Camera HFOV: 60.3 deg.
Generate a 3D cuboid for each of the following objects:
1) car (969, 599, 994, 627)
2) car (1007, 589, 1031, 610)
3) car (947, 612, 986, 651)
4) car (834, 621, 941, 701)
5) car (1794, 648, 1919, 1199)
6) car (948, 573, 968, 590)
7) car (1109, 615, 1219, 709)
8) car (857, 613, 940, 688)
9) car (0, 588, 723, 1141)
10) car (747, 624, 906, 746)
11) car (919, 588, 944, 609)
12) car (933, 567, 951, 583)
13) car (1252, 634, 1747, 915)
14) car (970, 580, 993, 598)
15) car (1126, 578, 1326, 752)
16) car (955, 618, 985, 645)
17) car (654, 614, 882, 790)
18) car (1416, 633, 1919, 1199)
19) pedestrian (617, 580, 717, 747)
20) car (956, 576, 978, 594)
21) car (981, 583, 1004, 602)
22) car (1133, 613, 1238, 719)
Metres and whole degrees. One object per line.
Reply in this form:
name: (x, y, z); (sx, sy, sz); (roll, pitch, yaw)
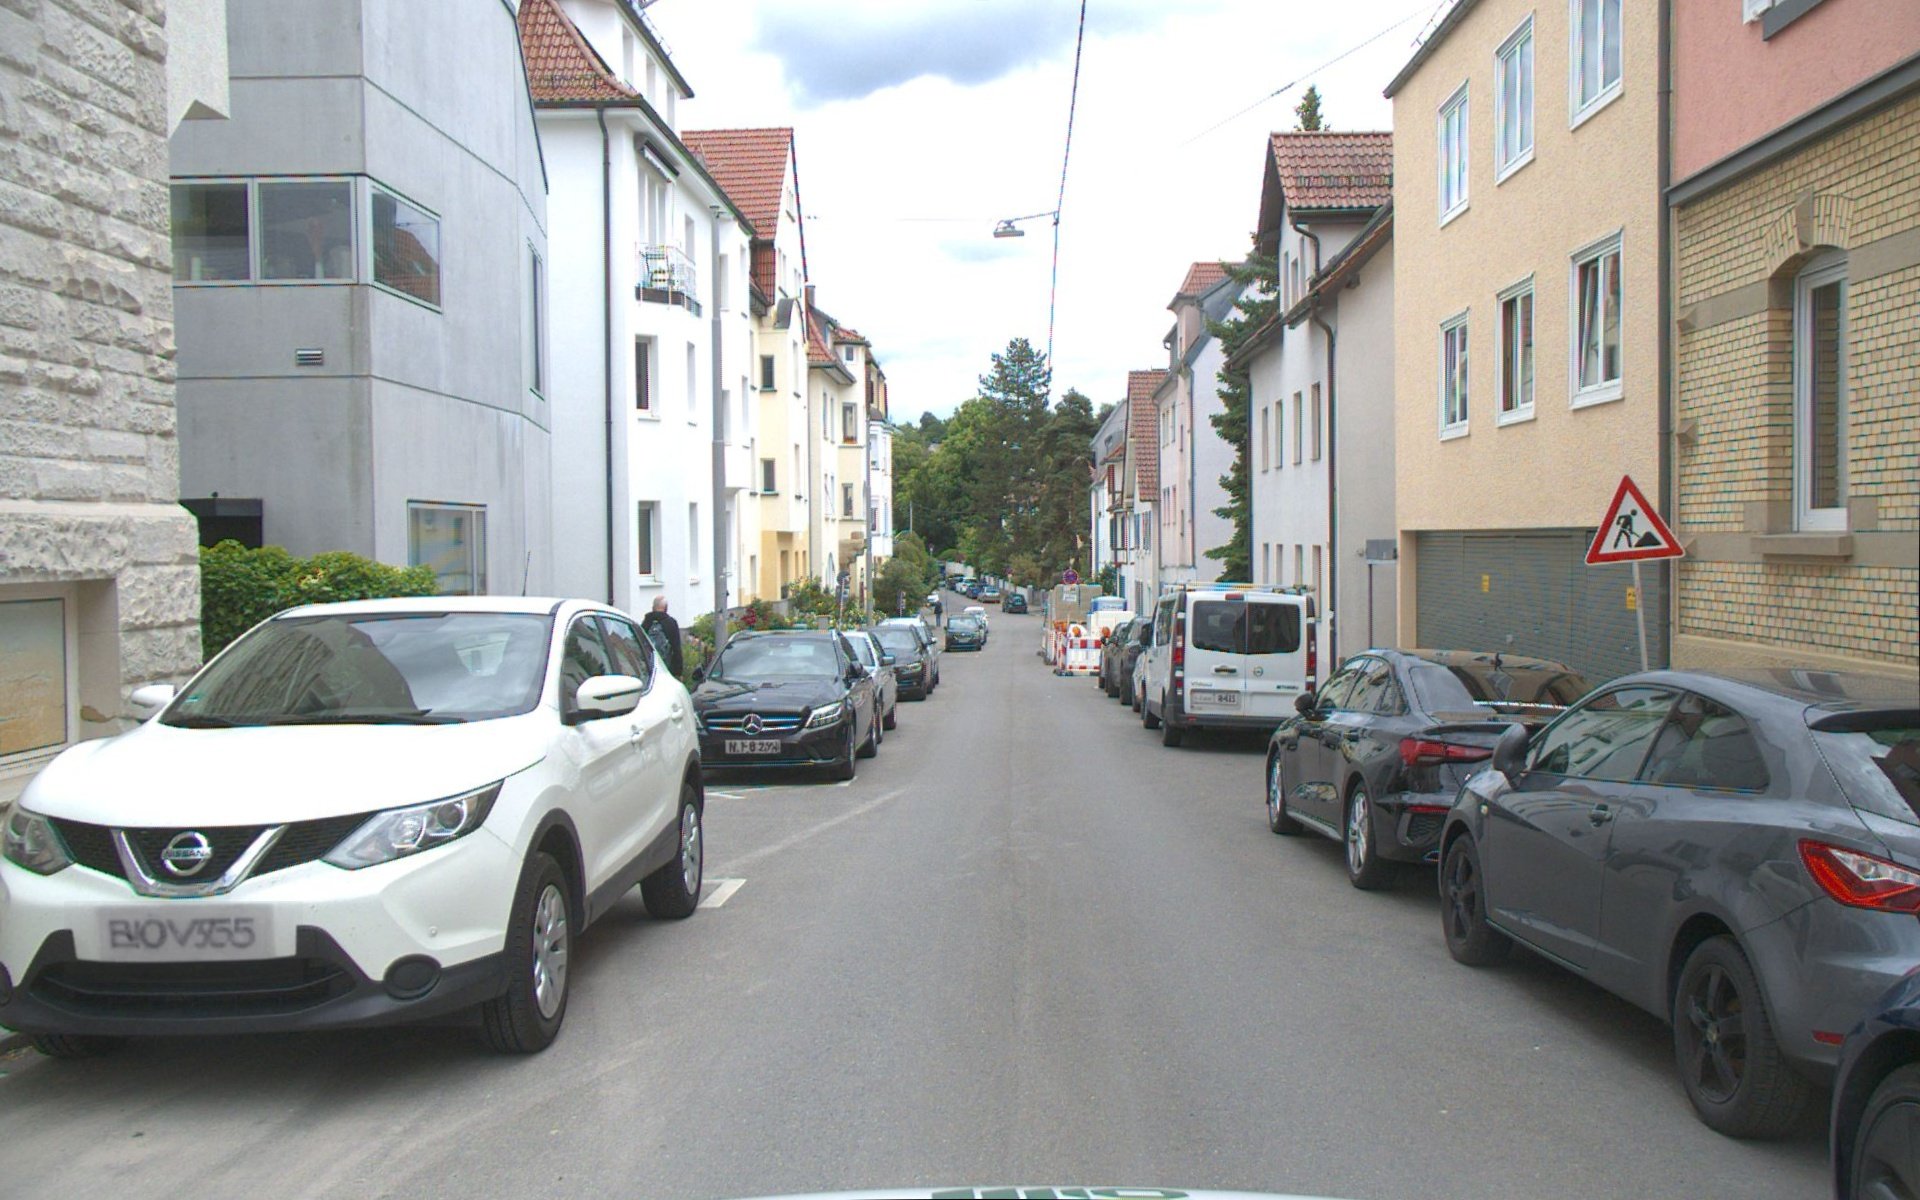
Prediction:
car: (1.471, 0.855, 111.751); (1.638, 1.685, 3.865); (-1, 3, 1)
car: (4.928, -0.079, 138.432); (1.603, 1.509, 3.527); (1, 3, -6)
car: (0.311, 1.551, 82.932); (1.807, 1.847, 4.543); (-1, 0, -1)
car: (-1.410, 1.196, 33.667); (1.806, 1.483, 4.505); (-1, -1, 2)
car: (2.797, 0.842, 1.704); (1.814, 1.428, 4.293); (1, 0, 2)
car: (-0.185, -1.870, 166.658); (1.603, 1.564, 3.526); (1, 3, -7)
car: (3.893, 1.143, 32.221); (1.677, 1.624, 4.499); (1, 0, 1)
car: (-1.410, 1.157, 39.515); (1.807, 1.659, 4.286); (0, 0, 0)
car: (-2.184, 0.748, 6.772); (1.807, 1.542, 4.240); (0, 0, 0)
car: (-1.746, 1.101, 23.155); (1.807, 1.437, 5.061); (0, 0, 0)
car: (-2.553, -0.122, 147.726); (1.642, 1.685, 3.854); (-2, 3, -11)
car: (-2.014, -2.749, 181.366); (1.603, 1.564, 3.526); (1, 3, -7)
car: (3.239, 0.969, 10.966); (1.814, 1.428, 4.575); (1, -1, 0)
car: (2.009, -1.048, 154.949); (1.603, 1.509, 3.526); (1, 3, -7)
car: (3.511, 0.793, 22.917); (1.866, 2.065, 5.733); (1, 0, 1)
car: (0.594, 1.760, 93.383); (1.608, 1.441, 3.984); (-1, 0, 1)
car: (-1.854, 0.945, 17.303); (1.857, 1.554, 4.470); (0, 0, 0)
car: (3.239, 0.900, 6.295); (1.815, 1.428, 3.965); (1, 0, -1)
pedestrian: (-3.449, 0.732, 19.520); (0.800, 1.917, 0.847); (-1, -1, 24)
car: (0.666, -1.501, 161.140); (1.603, 1.564, 3.526); (1, 3, -7)
car: (2.959, -0.710, 150.359); (1.603, 1.509, 3.526); (1, 3, -7)
car: (3.717, 1.062, 27.592); (1.456, 1.624, 2.791); (1, 0, 2)
